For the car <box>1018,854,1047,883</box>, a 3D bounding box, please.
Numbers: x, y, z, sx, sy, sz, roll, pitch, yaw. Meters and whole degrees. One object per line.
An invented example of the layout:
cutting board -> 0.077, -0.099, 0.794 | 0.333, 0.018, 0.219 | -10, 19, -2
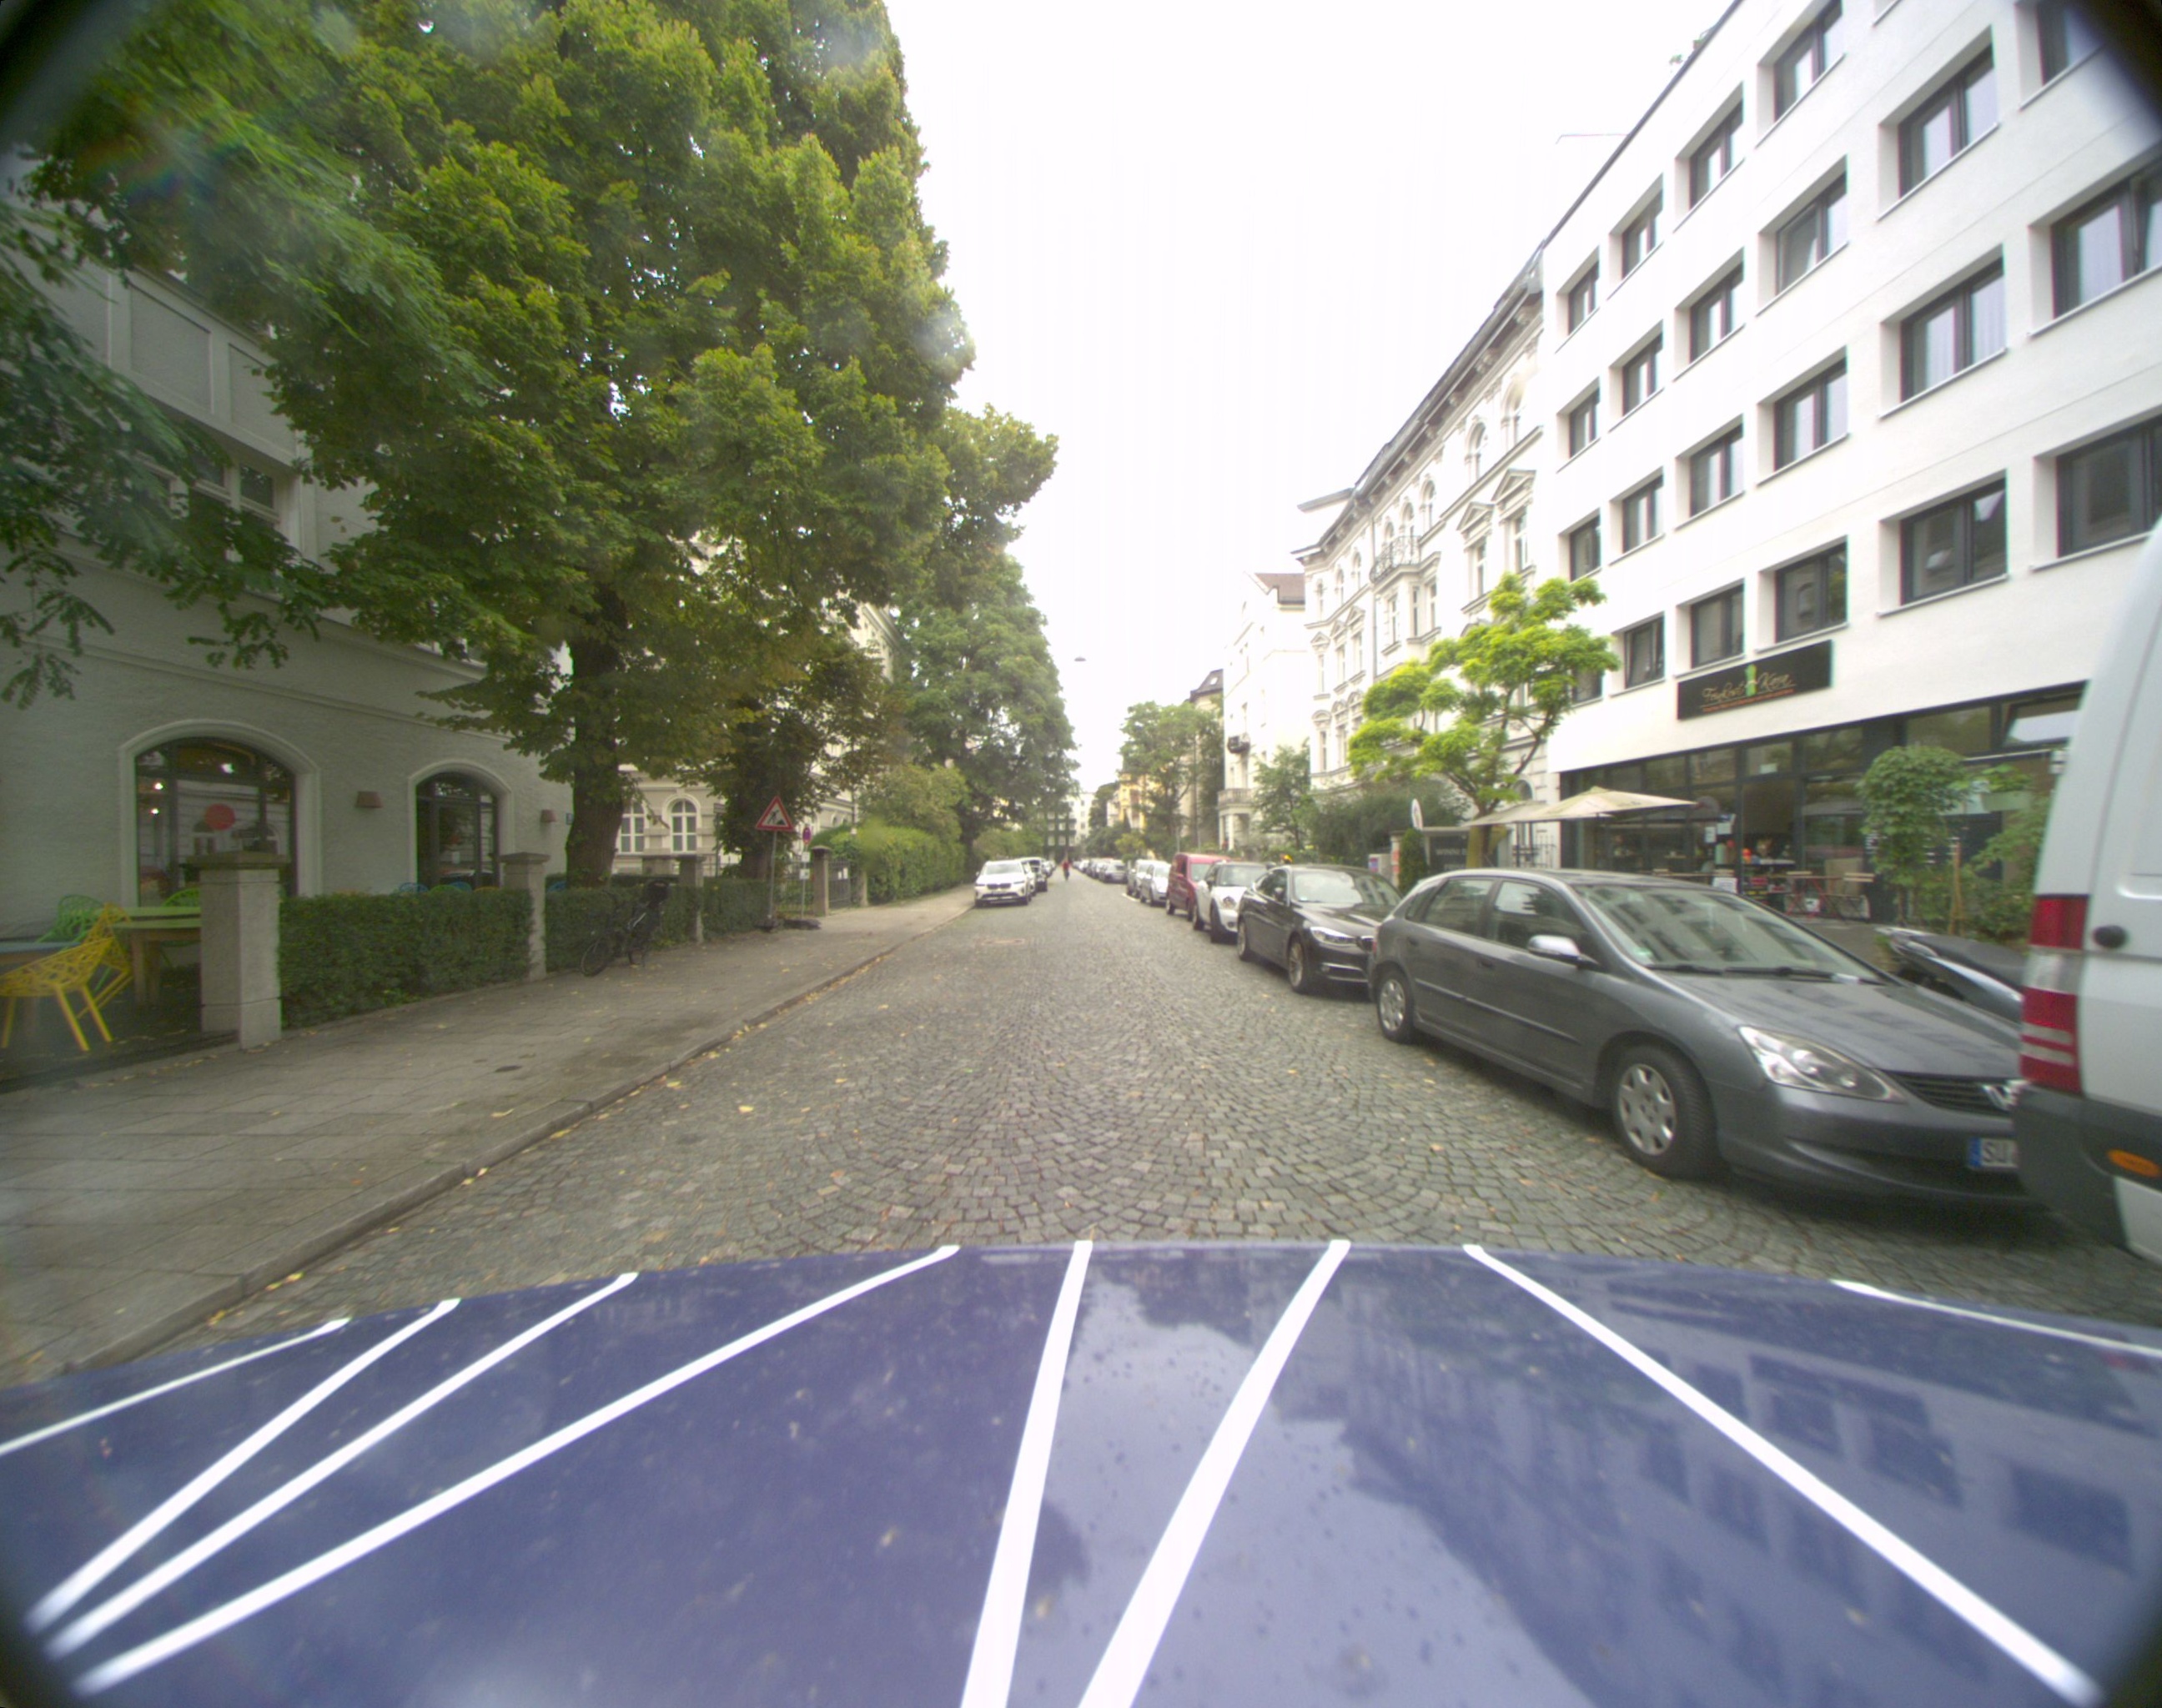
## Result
car -> -3.379, 0.985, 53.543 | 1.819, 1.809, 4.807 | -5, 0, -2

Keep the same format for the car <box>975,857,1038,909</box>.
car -> -2.720, 1.019, 28.657 | 1.925, 1.676, 4.633 | -1, 1, -1

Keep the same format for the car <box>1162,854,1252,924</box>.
car -> 3.313, 0.869, 20.658 | 1.722, 1.713, 3.898 | 0, 0, -1

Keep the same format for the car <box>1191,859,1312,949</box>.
car -> 3.245, 0.896, 15.139 | 1.697, 1.495, 3.777 | -1, 0, 3

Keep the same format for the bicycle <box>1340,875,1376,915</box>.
bicycle -> 7.852, 1.134, 21.588 | 0.258, 1.072, 1.685 | -1, -1, -5

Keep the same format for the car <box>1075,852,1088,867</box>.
car -> 0.010, 0.806, 107.940 | 1.791, 2.002, 3.214 | -1, 0, -1

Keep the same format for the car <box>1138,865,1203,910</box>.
car -> 3.068, 1.123, 26.774 | 1.636, 1.386, 3.815 | -1, 0, -3

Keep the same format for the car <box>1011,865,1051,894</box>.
car -> -2.615, 1.318, 40.357 | 1.924, 1.290, 4.808 | -1, 0, -2

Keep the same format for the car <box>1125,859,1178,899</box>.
car -> 3.011, 1.021, 33.113 | 1.694, 1.563, 4.067 | -1, 0, -3

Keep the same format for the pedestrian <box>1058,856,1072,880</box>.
pedestrian -> -1.242, 1.092, 59.375 | 1.105, 1.768, 1.263 | -1, 1, -1

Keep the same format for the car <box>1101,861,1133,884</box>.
car -> 2.575, 1.303, 55.128 | 1.886, 1.411, 4.808 | 2, 0, -2

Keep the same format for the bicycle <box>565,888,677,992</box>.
bicycle -> -6.273, 1.126, 10.461 | 0.429, 1.191, 1.730 | 4, 0, 0

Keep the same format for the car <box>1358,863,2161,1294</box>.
car -> 3.411, 0.840, 4.787 | 1.666, 1.474, 3.980 | -1, 0, -3

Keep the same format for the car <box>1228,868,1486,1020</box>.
car -> 3.276, 0.976, 10.077 | 1.730, 1.456, 4.473 | 1, 0, -1

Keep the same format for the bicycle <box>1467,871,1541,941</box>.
bicycle -> 7.913, 0.940, 14.298 | 0.361, 1.168, 1.911 | -1, 0, 1

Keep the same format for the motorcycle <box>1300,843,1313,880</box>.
motorcycle -> 7.520, 0.240, 25.386 | 0.331, 1.173, 1.627 | -1, 0, 14

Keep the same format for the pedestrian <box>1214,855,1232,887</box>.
pedestrian -> 7.287, 0.864, 38.941 | 0.665, 1.618, 0.670 | -1, 1, 31

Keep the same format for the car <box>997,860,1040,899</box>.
car -> -2.843, 1.135, 35.564 | 1.752, 1.591, 4.471 | -1, 0, -2

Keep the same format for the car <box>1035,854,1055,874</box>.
car -> -3.783, 1.059, 80.409 | 1.999, 2.002, 3.999 | -1, 0, -1

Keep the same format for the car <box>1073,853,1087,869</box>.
car -> -0.144, 0.924, 98.313 | 1.763, 2.002, 3.999 | -1, 0, -1

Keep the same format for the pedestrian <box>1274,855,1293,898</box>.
pedestrian -> 7.877, 0.872, 29.623 | 0.577, 1.637, 0.822 | 0, 0, 5

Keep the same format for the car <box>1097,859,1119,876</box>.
car -> 2.373, 1.198, 67.546 | 1.714, 1.416, 3.999 | -1, 0, -1

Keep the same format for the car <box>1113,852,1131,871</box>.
car -> 4.546, 0.837, 84.399 | 1.763, 2.002, 3.999 | -1, 0, -1
